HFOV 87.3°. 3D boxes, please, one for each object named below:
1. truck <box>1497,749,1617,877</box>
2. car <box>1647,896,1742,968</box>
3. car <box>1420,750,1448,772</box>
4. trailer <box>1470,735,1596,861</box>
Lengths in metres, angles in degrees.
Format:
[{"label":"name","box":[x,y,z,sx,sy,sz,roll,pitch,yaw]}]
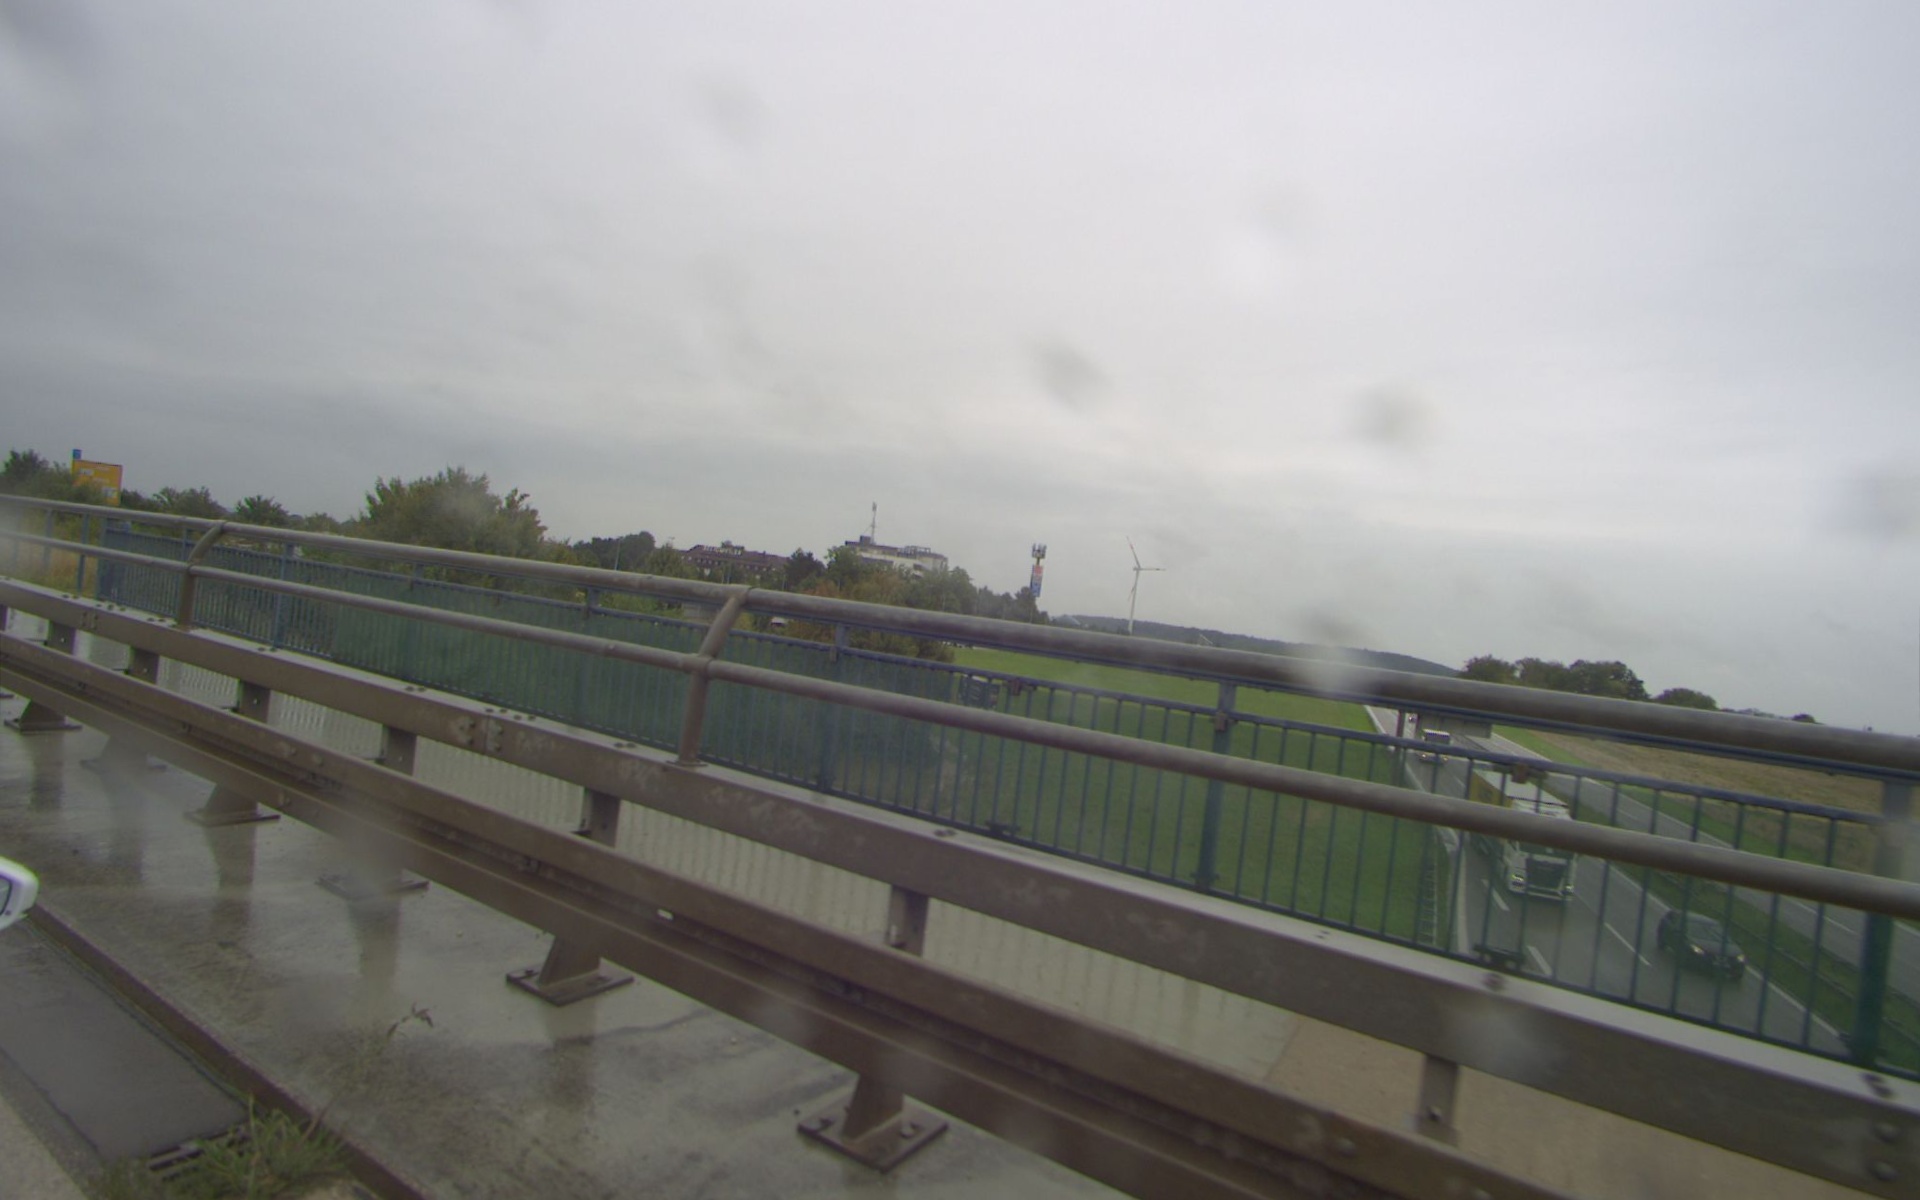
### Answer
[{"label":"truck","box":[25.525,8.948,43.366,2.829,4.016,6.821,8,0,21]},{"label":"car","box":[26.708,12.042,36.708,1.646,1.366,4.004,8,-2,21]},{"label":"car","box":[49.378,16.748,104.780,1.963,1.783,4.005,8,-3,19]},{"label":"trailer","box":[28.044,9.389,50.021,2.829,4.015,14.024,8,0,21]}]
